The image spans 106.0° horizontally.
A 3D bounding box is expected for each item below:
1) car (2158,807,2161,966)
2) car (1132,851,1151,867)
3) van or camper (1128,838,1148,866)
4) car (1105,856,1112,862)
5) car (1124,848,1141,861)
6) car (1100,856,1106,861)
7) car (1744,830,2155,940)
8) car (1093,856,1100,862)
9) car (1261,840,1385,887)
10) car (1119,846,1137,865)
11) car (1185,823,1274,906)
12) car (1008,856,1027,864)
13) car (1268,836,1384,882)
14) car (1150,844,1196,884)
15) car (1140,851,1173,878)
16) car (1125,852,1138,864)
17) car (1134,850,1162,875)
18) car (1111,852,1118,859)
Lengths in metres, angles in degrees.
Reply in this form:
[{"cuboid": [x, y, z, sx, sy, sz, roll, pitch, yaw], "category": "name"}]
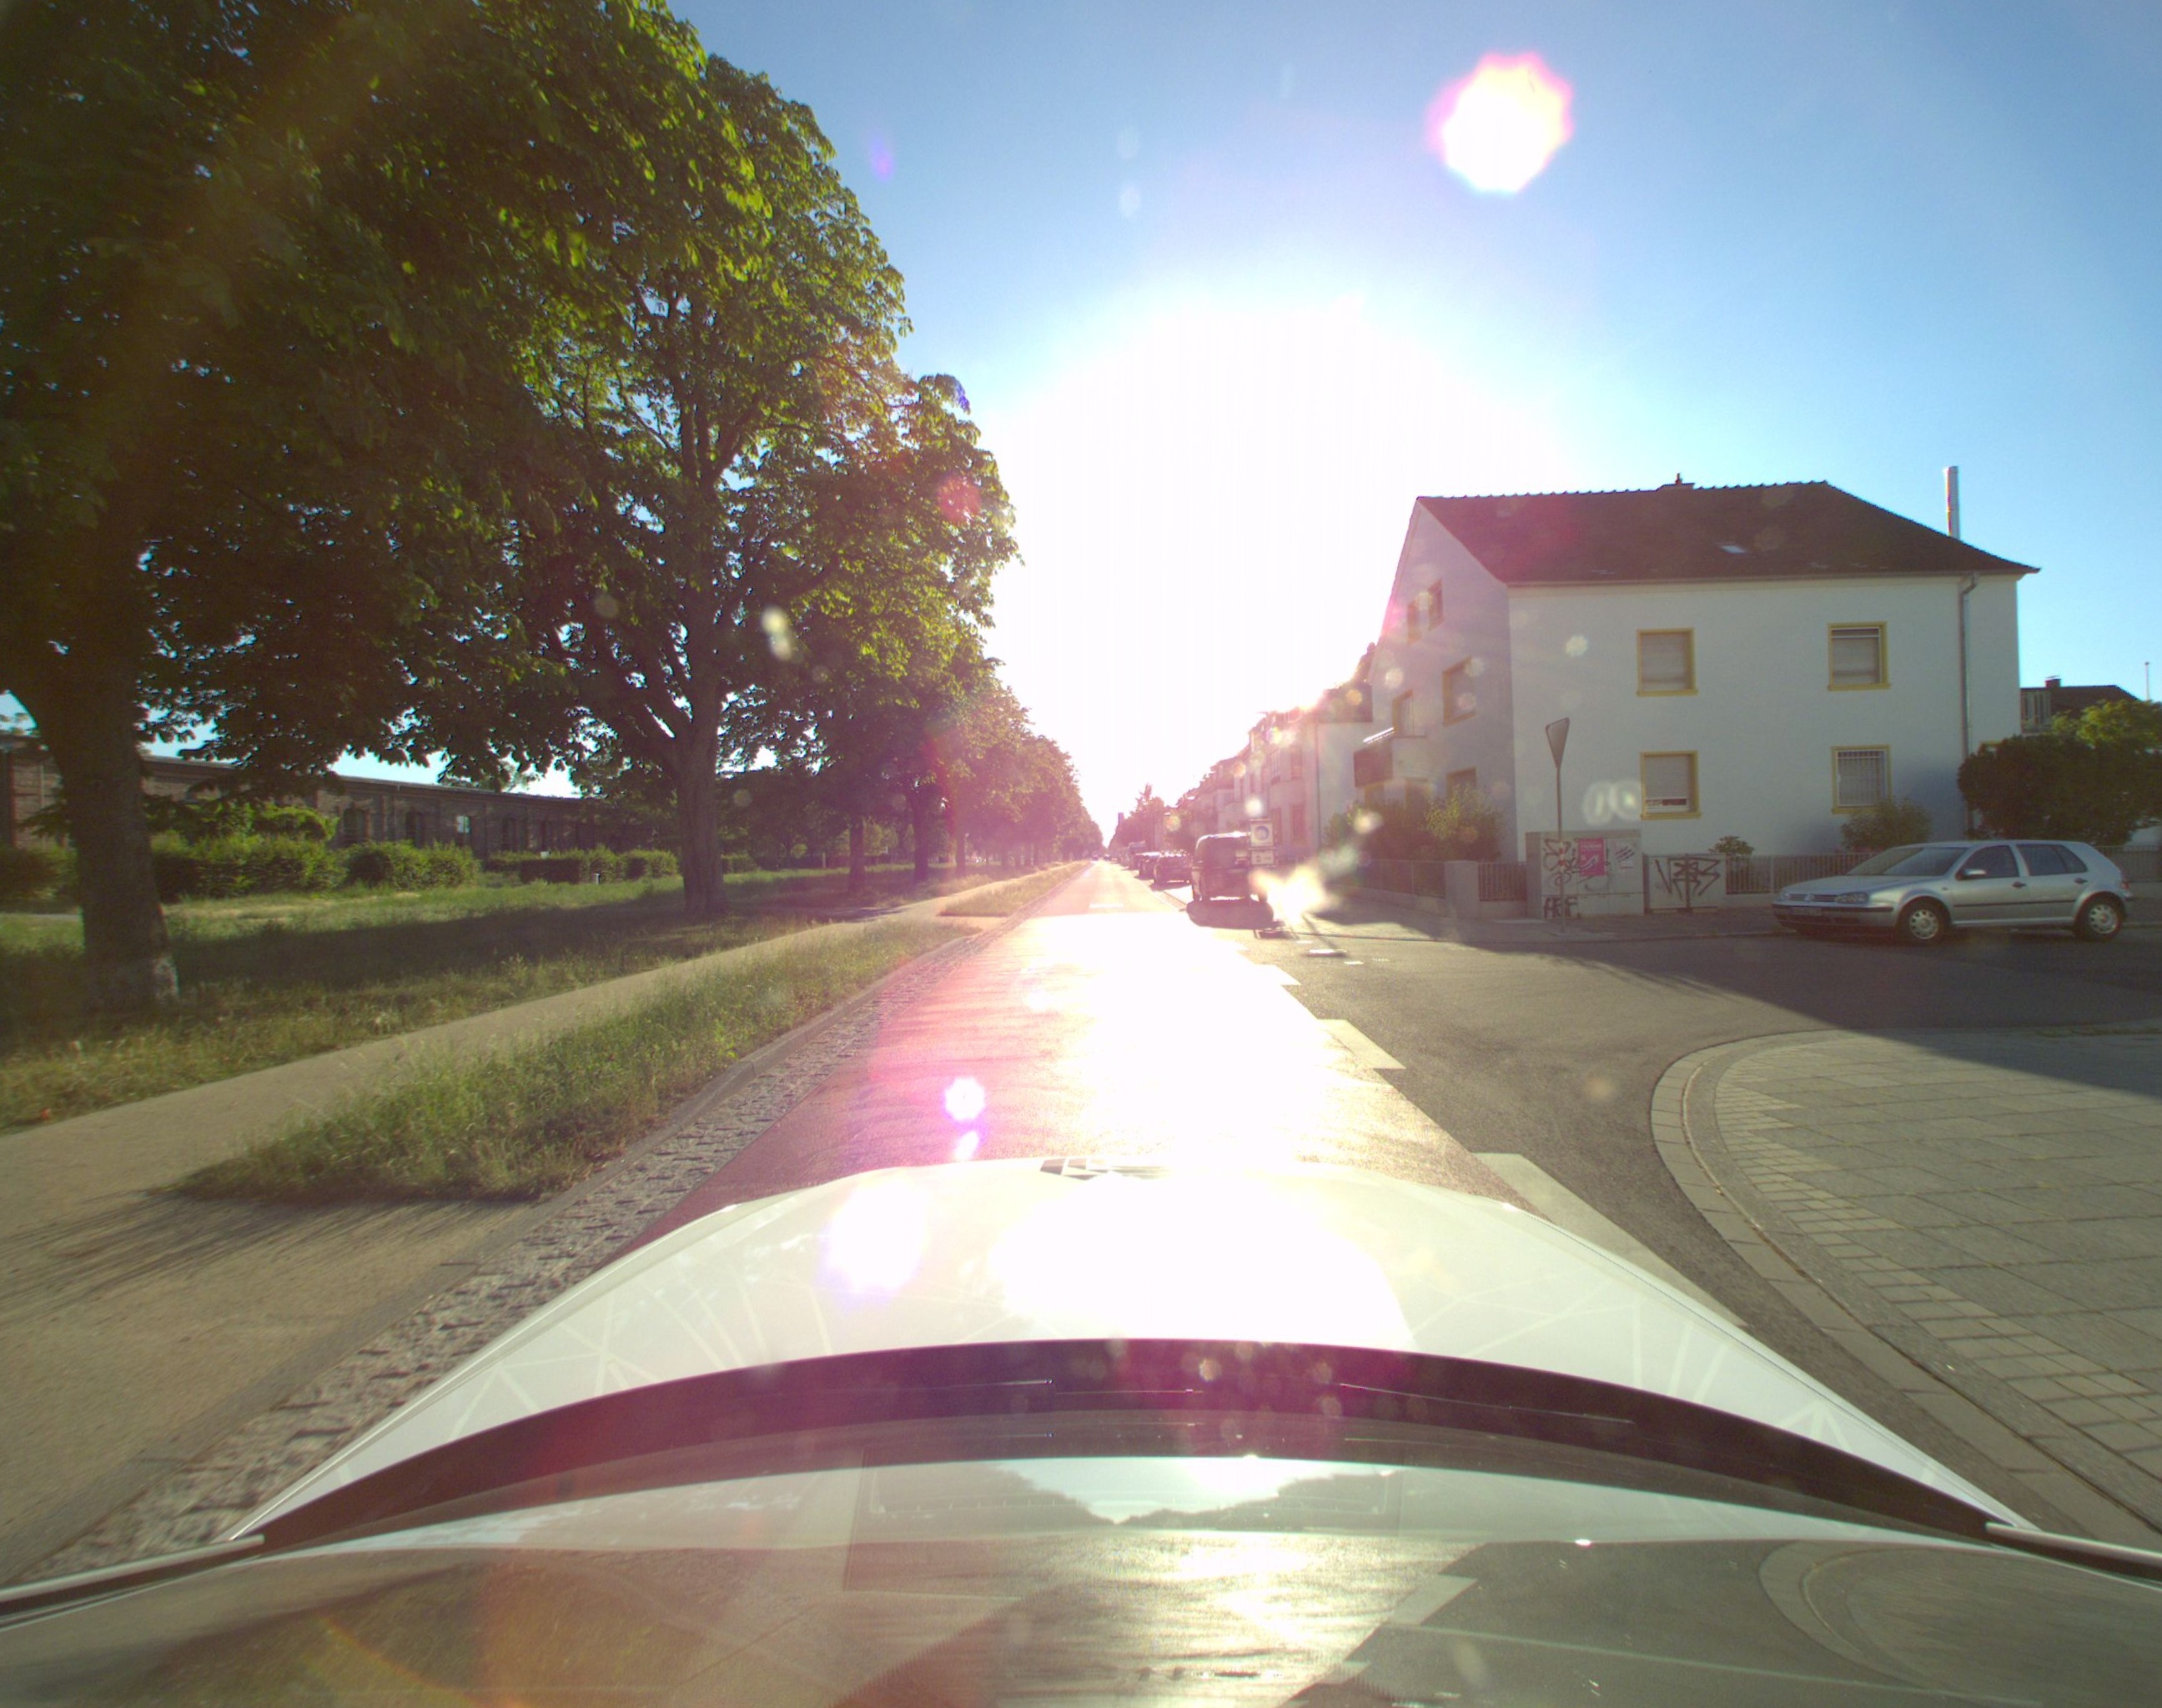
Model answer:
[{"cuboid": [12.148, 0.390, 6.717, 4.077, 1.689, 1.894, 0, -1, -1], "category": "car"}, {"cuboid": [5.881, 0.491, 79.332, 1.657, 1.593, 4.088, 0, 0, 2], "category": "car"}, {"cuboid": [5.938, -0.152, 85.831, 1.936, 2.777, 5.942, 0, -1, 2], "category": "van or camper"}, {"cuboid": [7.612, 1.386, 222.192, 1.856, 1.597, 3.894, 0, 0, 1], "category": "car"}, {"cuboid": [6.609, 0.047, 104.379, 1.831, 1.636, 4.131, -3, 0, 0], "category": "car"}, {"cuboid": [6.887, 1.403, 252.445, 1.856, 1.597, 3.870, 0, -1, 1], "category": "car"}, {"cuboid": [12.527, 0.430, 11.968, 4.059, 1.470, 1.894, 0, -1, -1], "category": "car"}, {"cuboid": [4.383, 1.438, 230.908, 1.856, 1.597, 3.870, 0, -1, 1], "category": "car"}, {"cuboid": [9.187, 0.367, 31.178, 4.206, 1.726, 1.852, 0, -1, -2], "category": "car"}, {"cuboid": [6.677, 0.197, 115.948, 2.120, 2.532, 5.187, -3, 0, 0], "category": "car"}, {"cuboid": [4.319, 0.287, 24.393, 1.898, 2.132, 4.817, -3, 0, 3], "category": "car"}, {"cuboid": [-14.652, 1.476, 189.117, 4.342, 1.764, 1.995, 0, -1, -7], "category": "car"}, {"cuboid": [10.144, 0.217, 33.950, 4.206, 1.726, 1.852, -2, -1, -2], "category": "car"}, {"cuboid": [4.518, 0.479, 40.609, 1.787, 1.771, 4.474, -3, 0, 2], "category": "car"}, {"cuboid": [4.821, 0.659, 52.449, 1.711, 1.574, 4.212, -4, -1, 2], "category": "car"}, {"cuboid": [6.781, 0.518, 109.946, 1.643, 1.530, 3.854, -3, 0, 3], "category": "car"}, {"cuboid": [4.759, 0.576, 58.448, 1.825, 1.685, 4.417, 0, 0, 2], "category": "car"}, {"cuboid": [8.440, 0.398, 203.651, 1.643, 1.530, 3.854, -2, 0, 3], "category": "car"}]
